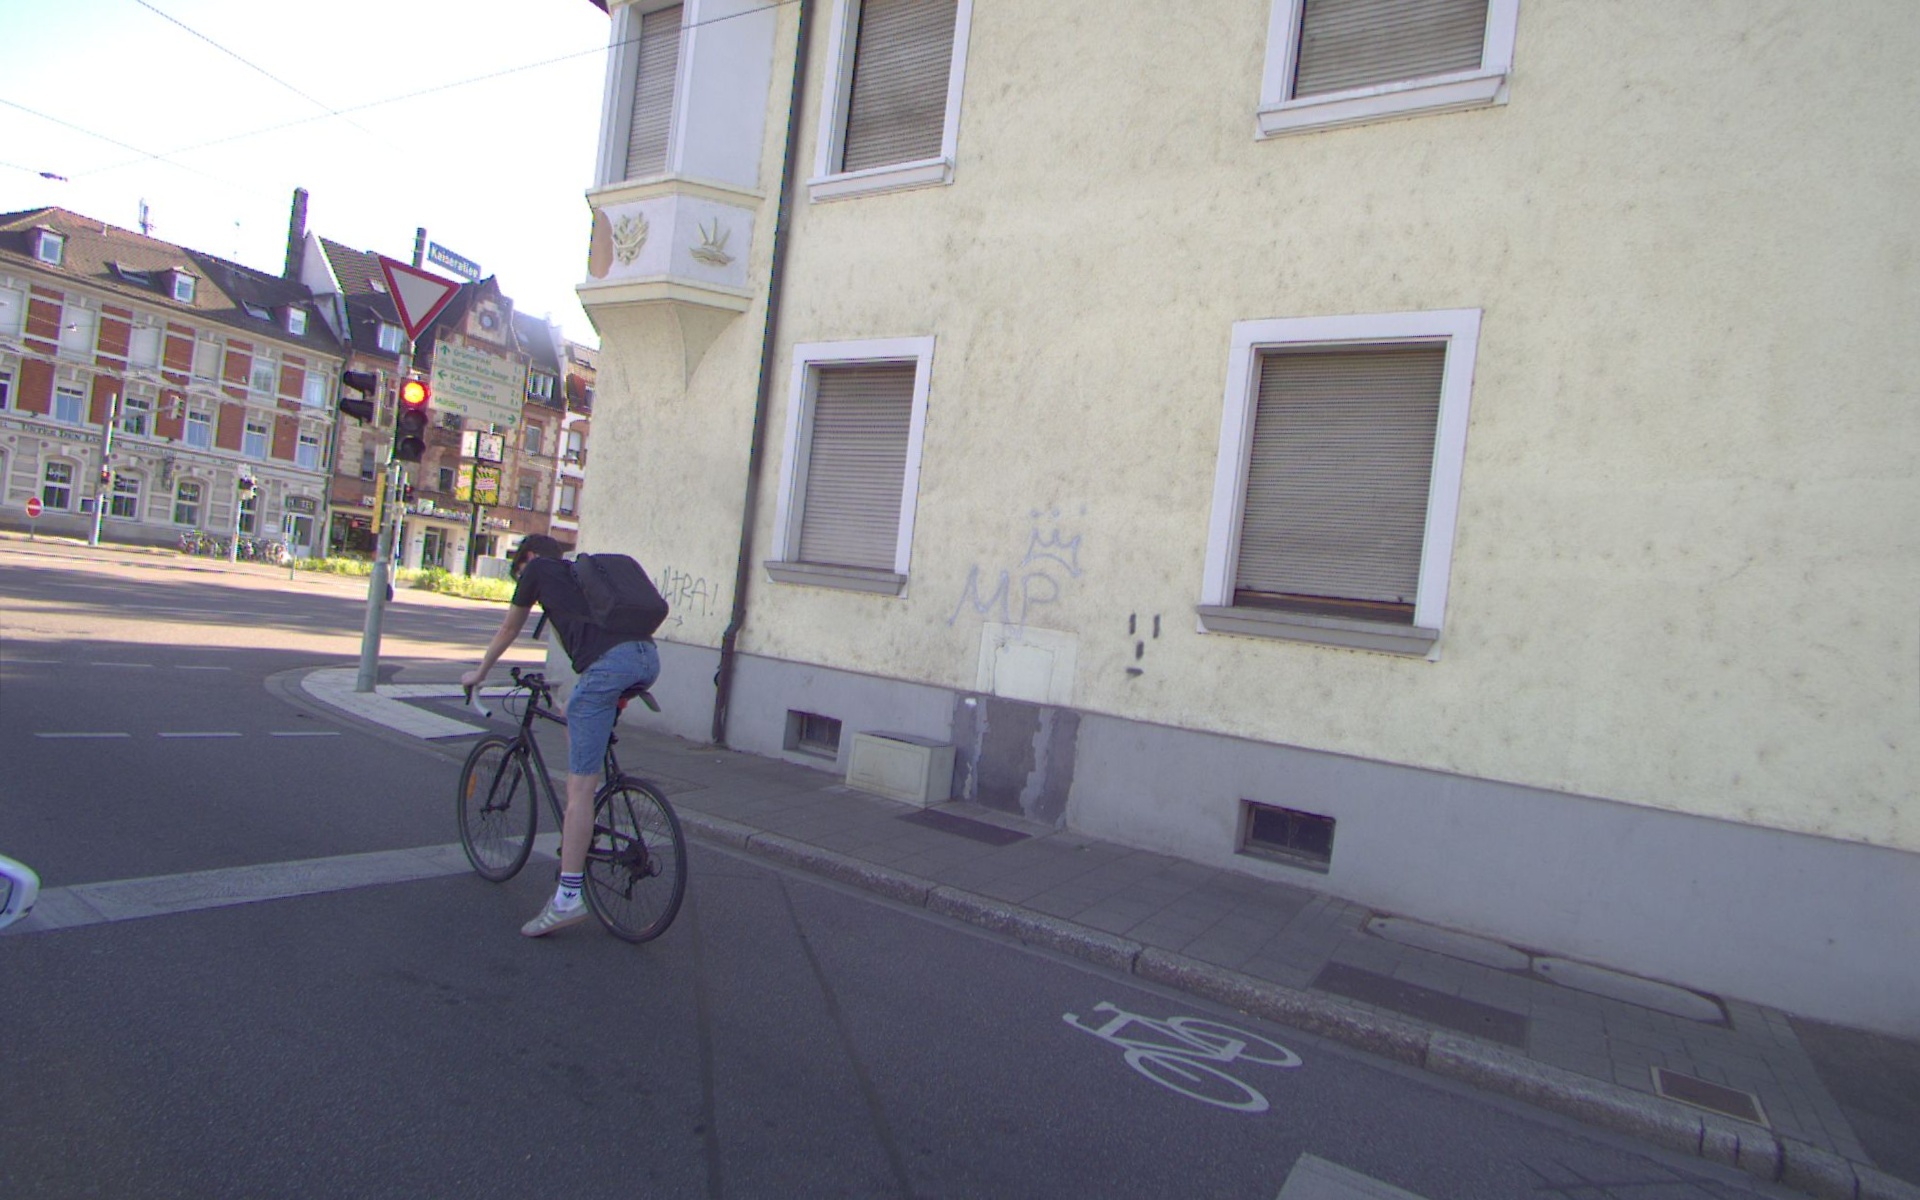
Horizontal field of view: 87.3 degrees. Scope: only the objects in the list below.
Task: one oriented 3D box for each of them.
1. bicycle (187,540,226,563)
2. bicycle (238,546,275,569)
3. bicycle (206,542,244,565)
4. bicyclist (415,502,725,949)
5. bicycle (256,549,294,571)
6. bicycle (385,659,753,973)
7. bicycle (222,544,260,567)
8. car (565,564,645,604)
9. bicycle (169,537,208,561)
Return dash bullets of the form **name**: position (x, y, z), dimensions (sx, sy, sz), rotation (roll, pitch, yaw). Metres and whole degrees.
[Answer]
- **bicycle**: position (-34.561, -2.236, 46.148), dimensions (2.125, 0.850, 0.659), rotation (6, -2, 33)
- **bicycle**: position (-33.498, -2.026, 47.896), dimensions (2.125, 0.850, 0.659), rotation (6, -2, 33)
- **bicycle**: position (-34.188, -2.162, 46.769), dimensions (2.125, 0.850, 0.659), rotation (6, -2, 33)
- **bicyclist**: position (-1.748, 0.490, 4.492), dimensions (1.098, 1.722, 0.573), rotation (7, 0, 32)
- **bicycle**: position (-33.110, -1.947, 48.601), dimensions (2.125, 0.850, 0.659), rotation (6, -2, 33)
- **bicycle**: position (-1.796, 0.874, 4.513), dimensions (1.721, 0.982, 0.519), rotation (7, 0, 32)
- **bicycle**: position (-33.854, -2.094, 47.366), dimensions (2.125, 0.850, 0.659), rotation (6, -2, 33)
- **car**: position (-23.021, -1.004, 65.328), dimensions (1.968, 2.038, 4.430), rotation (7, -1, 34)
- **bicycle**: position (-34.877, -2.304, 45.481), dimensions (2.125, 0.850, 0.659), rotation (6, -2, 33)
